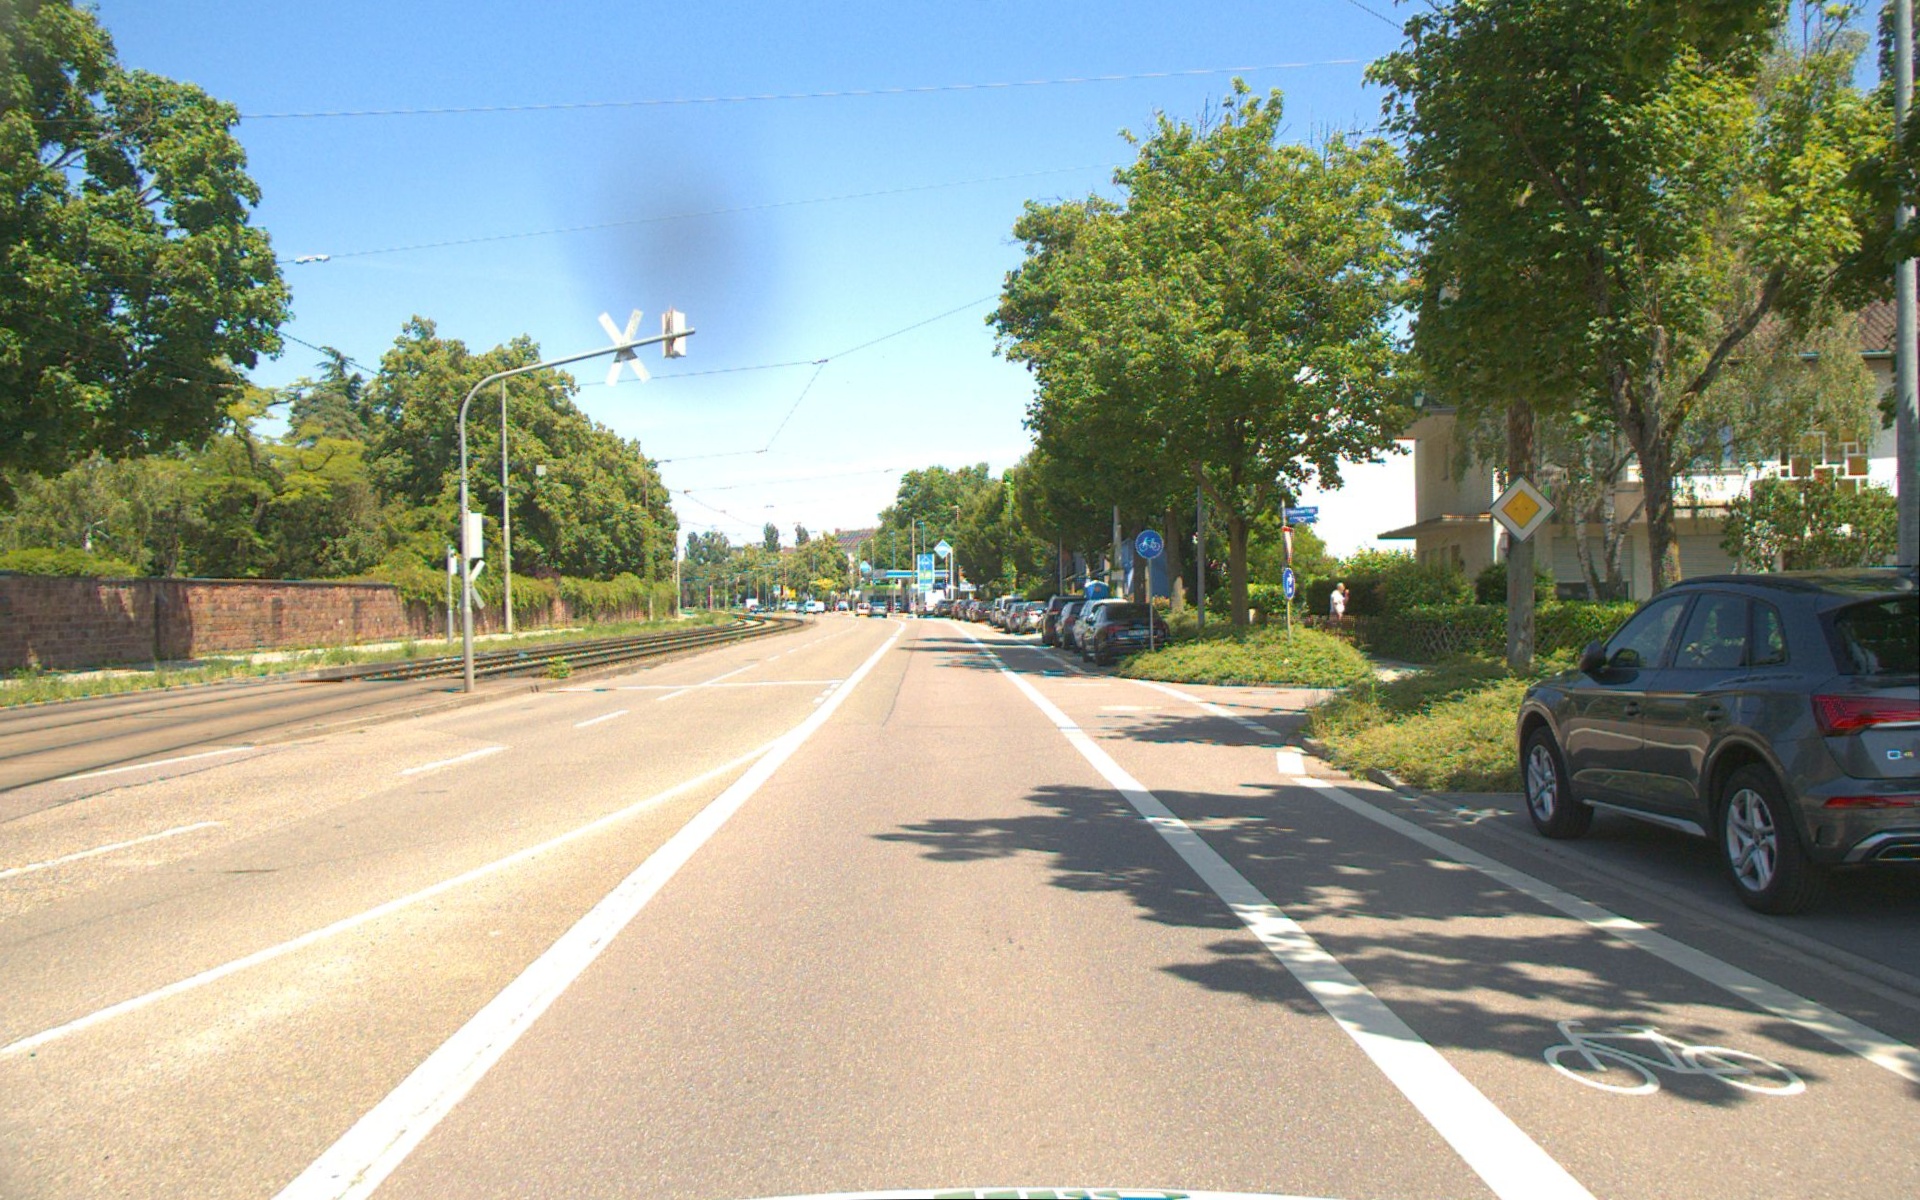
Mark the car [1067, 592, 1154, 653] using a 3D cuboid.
[{"bbox_3d":[4.264,0.611,47.530,1.804,1.556,4.203,-3,0,-4],"label":"car"}]

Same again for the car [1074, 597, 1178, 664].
[{"bbox_3d":[4.074,0.700,41.260,1.804,1.461,4.822,-3,0,-3],"label":"car"}]

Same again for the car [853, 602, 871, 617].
[{"bbox_3d":[-11.970,1.154,201.088,1.723,1.659,4.315,-3,0,-8],"label":"car"}]

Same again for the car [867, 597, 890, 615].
[{"bbox_3d":[-8.076,0.559,163.288,1.724,1.659,4.313,-3,0,-10],"label":"car"}]

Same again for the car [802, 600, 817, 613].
[{"bbox_3d":[-22.325,0.979,245.360,1.724,1.907,4.313,-3,0,-10],"label":"car"}]

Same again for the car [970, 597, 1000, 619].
[{"bbox_3d":[1.813,0.545,123.628,1.674,1.518,5.033,-3,0,-5],"label":"car"}]

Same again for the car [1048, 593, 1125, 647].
[{"bbox_3d":[4.013,0.602,53.092,1.804,1.556,4.350,-3,0,-3],"label":"car"}]

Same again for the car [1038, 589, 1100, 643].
[{"bbox_3d":[3.828,0.537,58.725,1.803,1.736,4.626,-3,0,0],"label":"car"}]

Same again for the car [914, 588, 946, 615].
[{"bbox_3d":[-2.968,0.164,160.710,1.965,2.499,6.093,-3,0,-11],"label":"car"}]

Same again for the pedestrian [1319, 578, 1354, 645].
[{"bbox_3d":[9.891,0.294,43.487,0.733,1.752,0.632,0,0,-7],"label":"pedestrian"}]

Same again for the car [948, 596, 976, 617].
[{"bbox_3d":[0.125,0.542,140.686,1.675,1.589,4.315,-3,0,-9],"label":"car"}]

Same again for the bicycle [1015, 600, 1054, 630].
[{"bbox_3d":[3.524,0.719,78.599,1.737,1.249,0.684,-6,-1,3],"label":"bicycle"}]

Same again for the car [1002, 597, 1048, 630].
[{"bbox_3d":[3.323,0.652,85.641,1.804,1.556,4.962,-3,0,-4],"label":"car"}]

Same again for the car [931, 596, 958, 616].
[{"bbox_3d":[-1.426,0.519,150.626,1.724,1.659,4.313,-3,0,-10],"label":"car"}]

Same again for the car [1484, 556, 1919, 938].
[{"bbox_3d":[4.717,0.625,9.636,1.678,1.661,4.707,-3,0,-1],"label":"car"}]

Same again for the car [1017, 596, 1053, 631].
[{"bbox_3d":[3.638,0.649,80.640,1.488,1.556,3.816,-3,0,-1],"label":"car"}]

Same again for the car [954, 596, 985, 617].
[{"bbox_3d":[0.748,0.536,134.784,1.676,1.589,4.313,-3,0,-10],"label":"car"}]

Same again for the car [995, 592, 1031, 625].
[{"bbox_3d":[3.184,0.491,100.618,1.804,1.825,4.351,-3,0,-2],"label":"car"}]
